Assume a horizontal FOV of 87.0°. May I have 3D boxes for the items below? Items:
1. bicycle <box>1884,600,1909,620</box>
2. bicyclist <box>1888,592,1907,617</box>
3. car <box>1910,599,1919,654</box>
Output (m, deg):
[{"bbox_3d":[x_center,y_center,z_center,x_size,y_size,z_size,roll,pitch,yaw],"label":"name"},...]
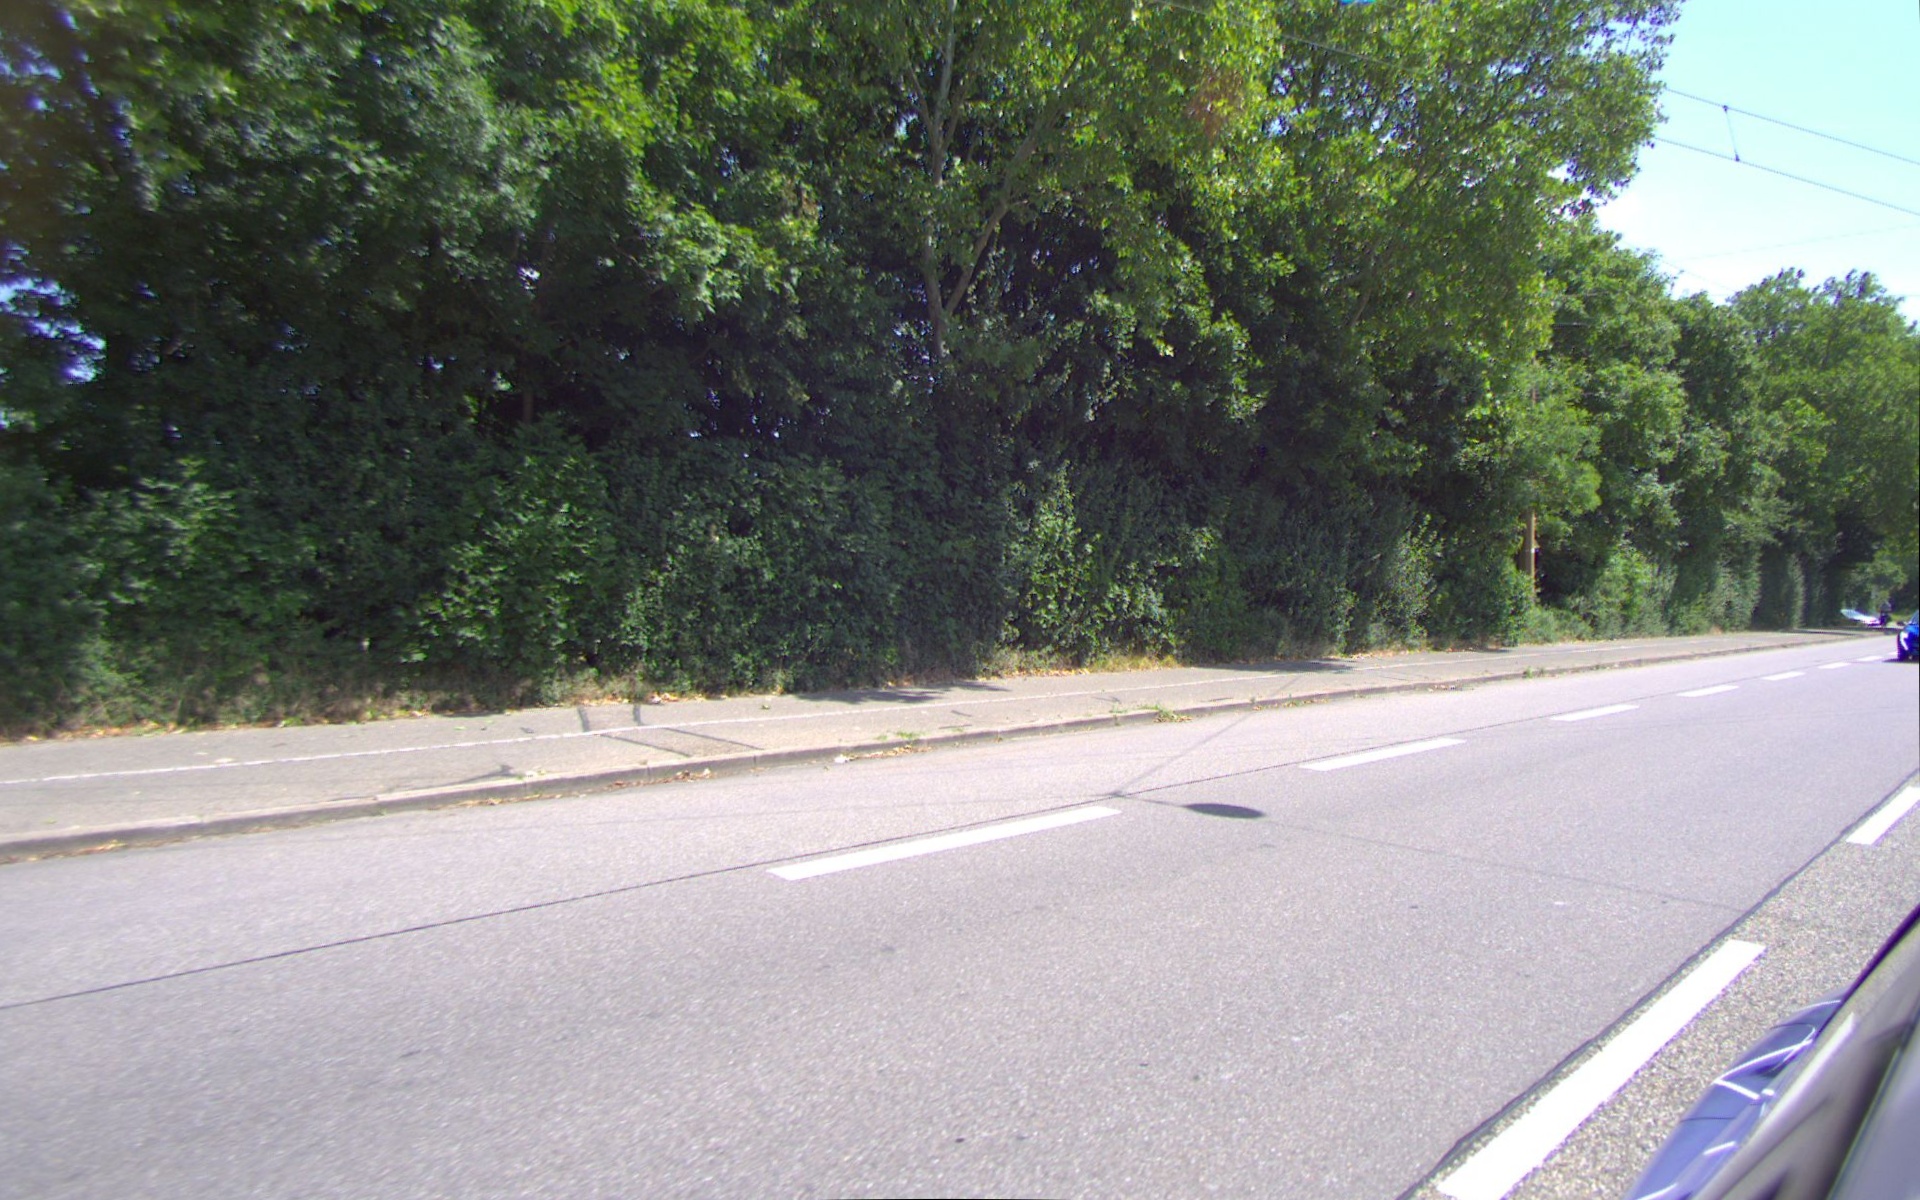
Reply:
[{"bbox_3d":[55.025,0.598,59.432,2.492,1.152,0.710,0,1,-39],"label":"bicycle"},{"bbox_3d":[55.133,0.241,59.506,0.629,1.457,0.704,0,1,-39],"label":"bicyclist"},{"bbox_3d":[27.182,0.700,27.498,3.679,1.423,1.658,-1,0,-41],"label":"car"}]
